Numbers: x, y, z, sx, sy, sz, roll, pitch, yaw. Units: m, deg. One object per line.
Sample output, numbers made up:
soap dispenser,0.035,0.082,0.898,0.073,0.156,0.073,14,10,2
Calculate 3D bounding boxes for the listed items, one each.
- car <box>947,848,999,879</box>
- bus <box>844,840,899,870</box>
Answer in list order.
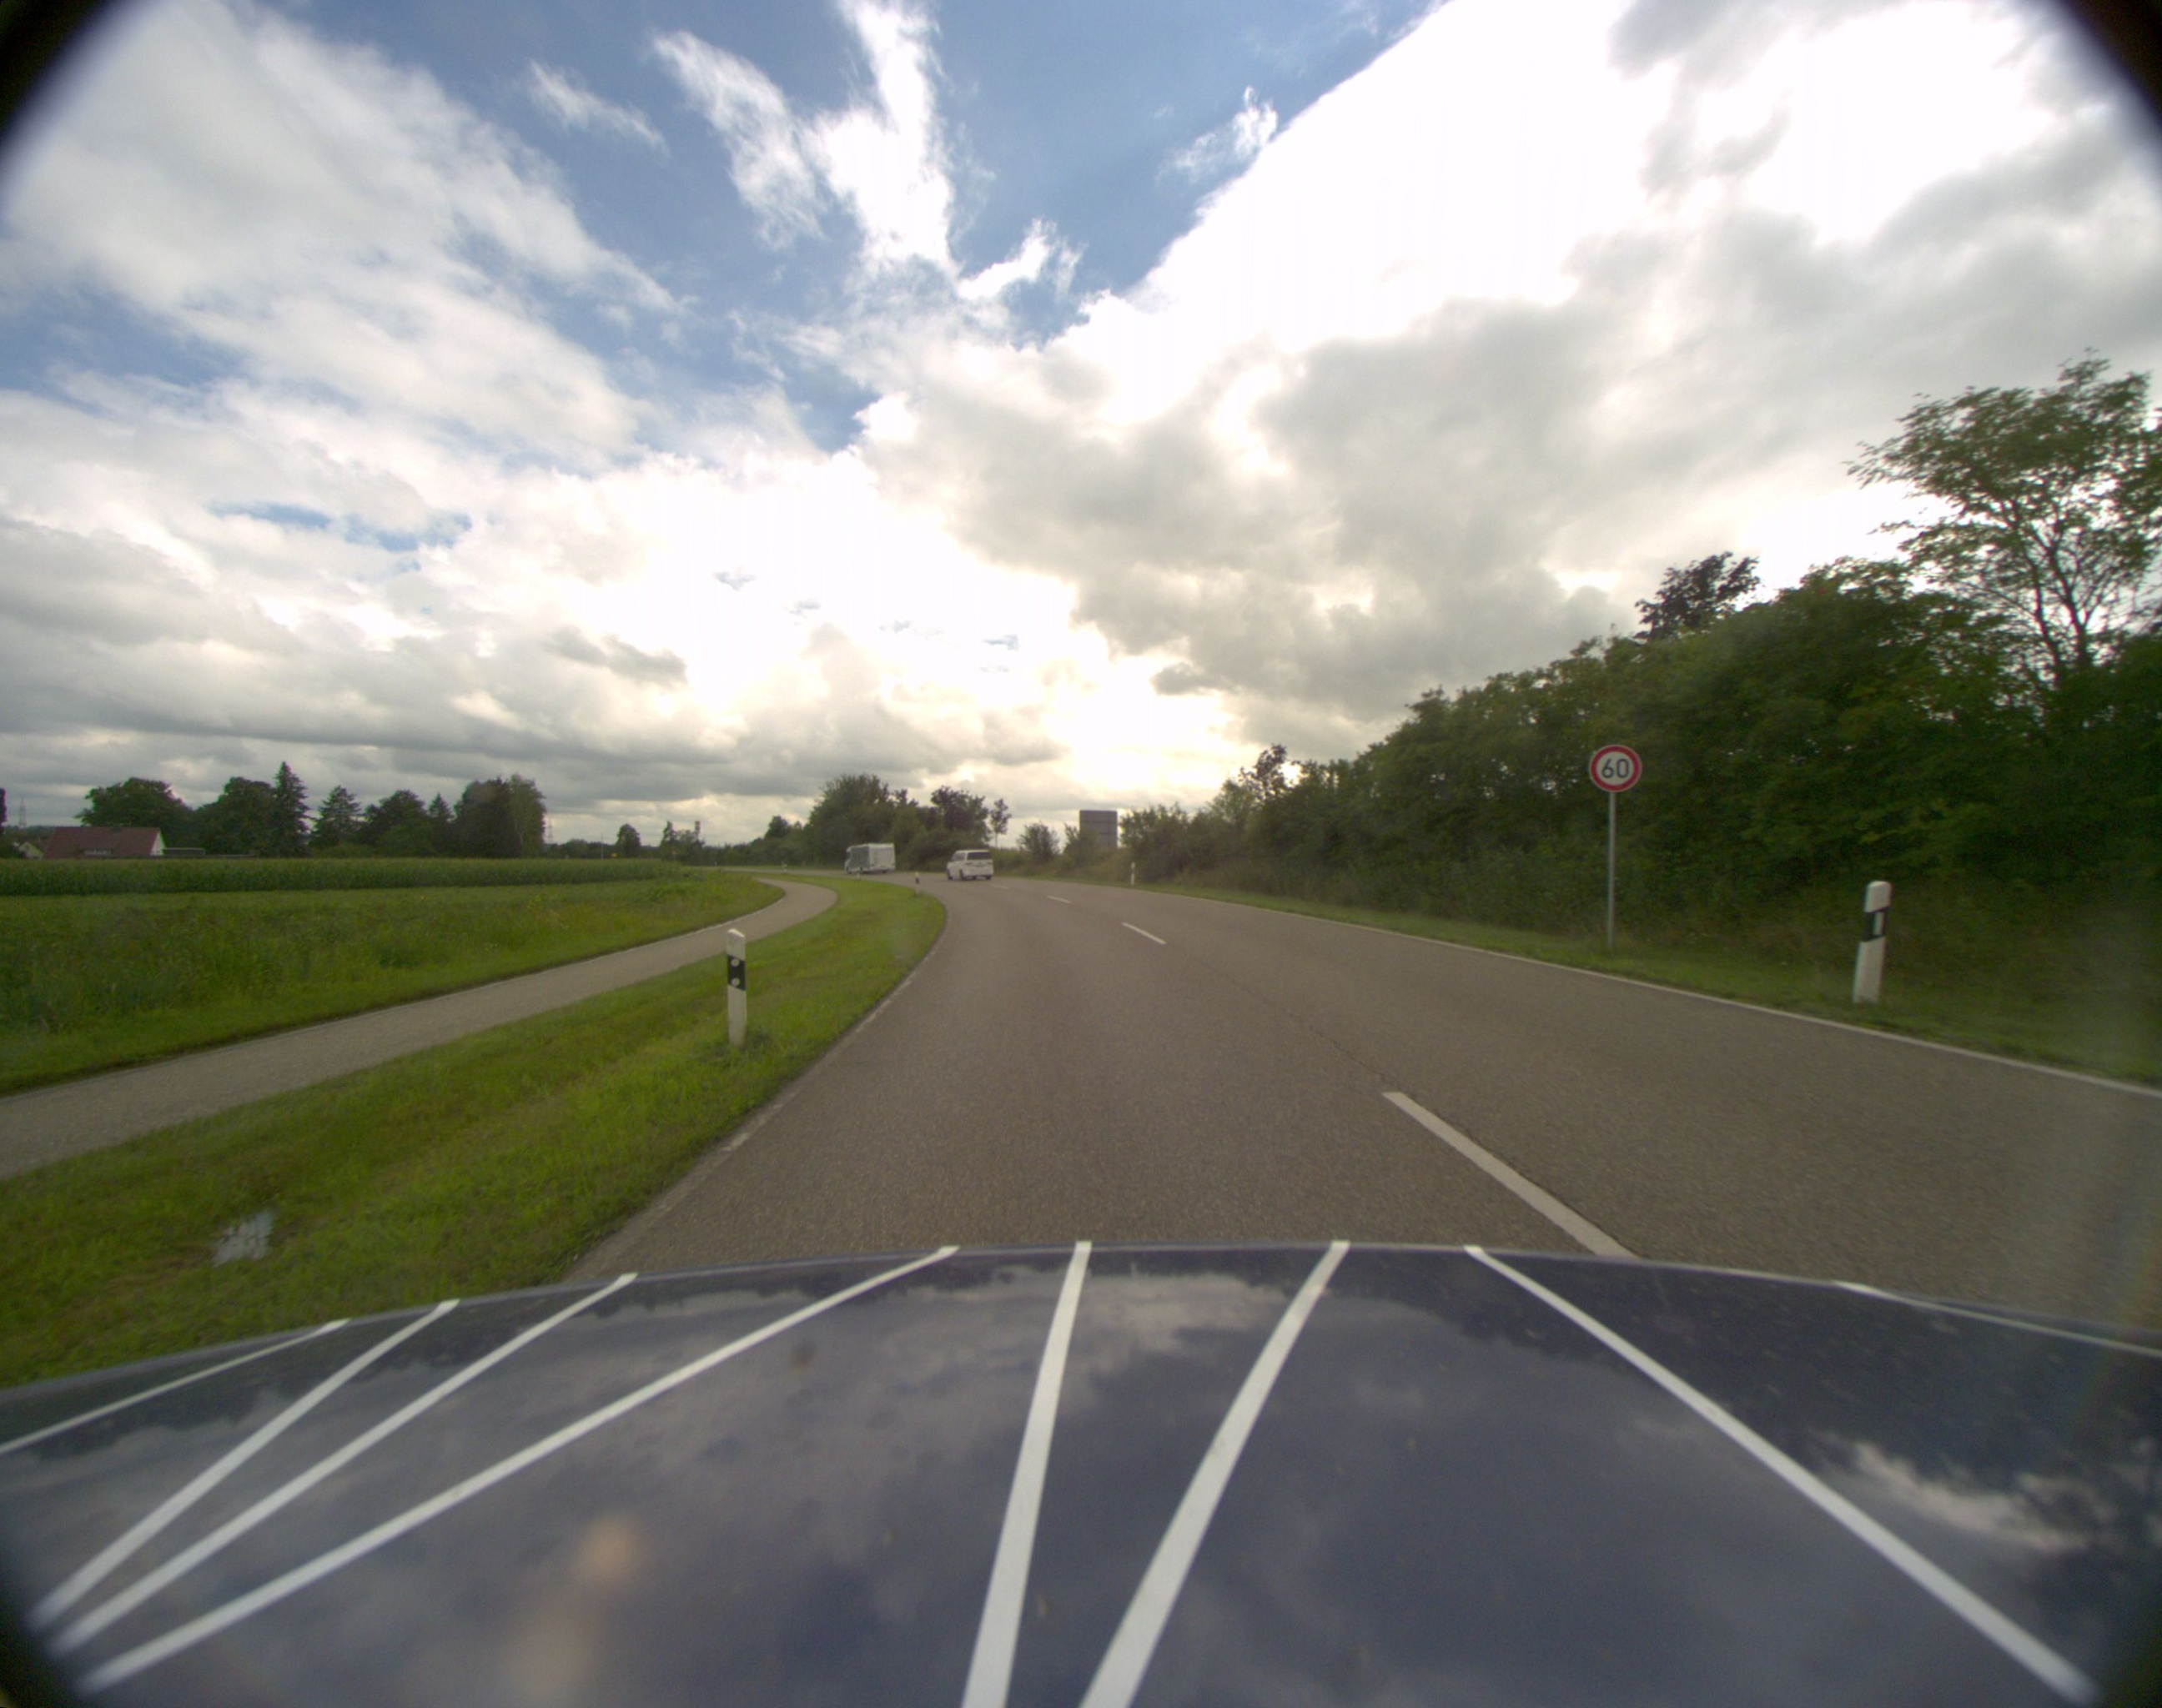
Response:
car,-7.115,0.593,49.633,2.122,1.858,5.176,-1,1,-23
bus,-19.895,0.105,71.679,2.487,2.695,8.409,-2,1,-33
